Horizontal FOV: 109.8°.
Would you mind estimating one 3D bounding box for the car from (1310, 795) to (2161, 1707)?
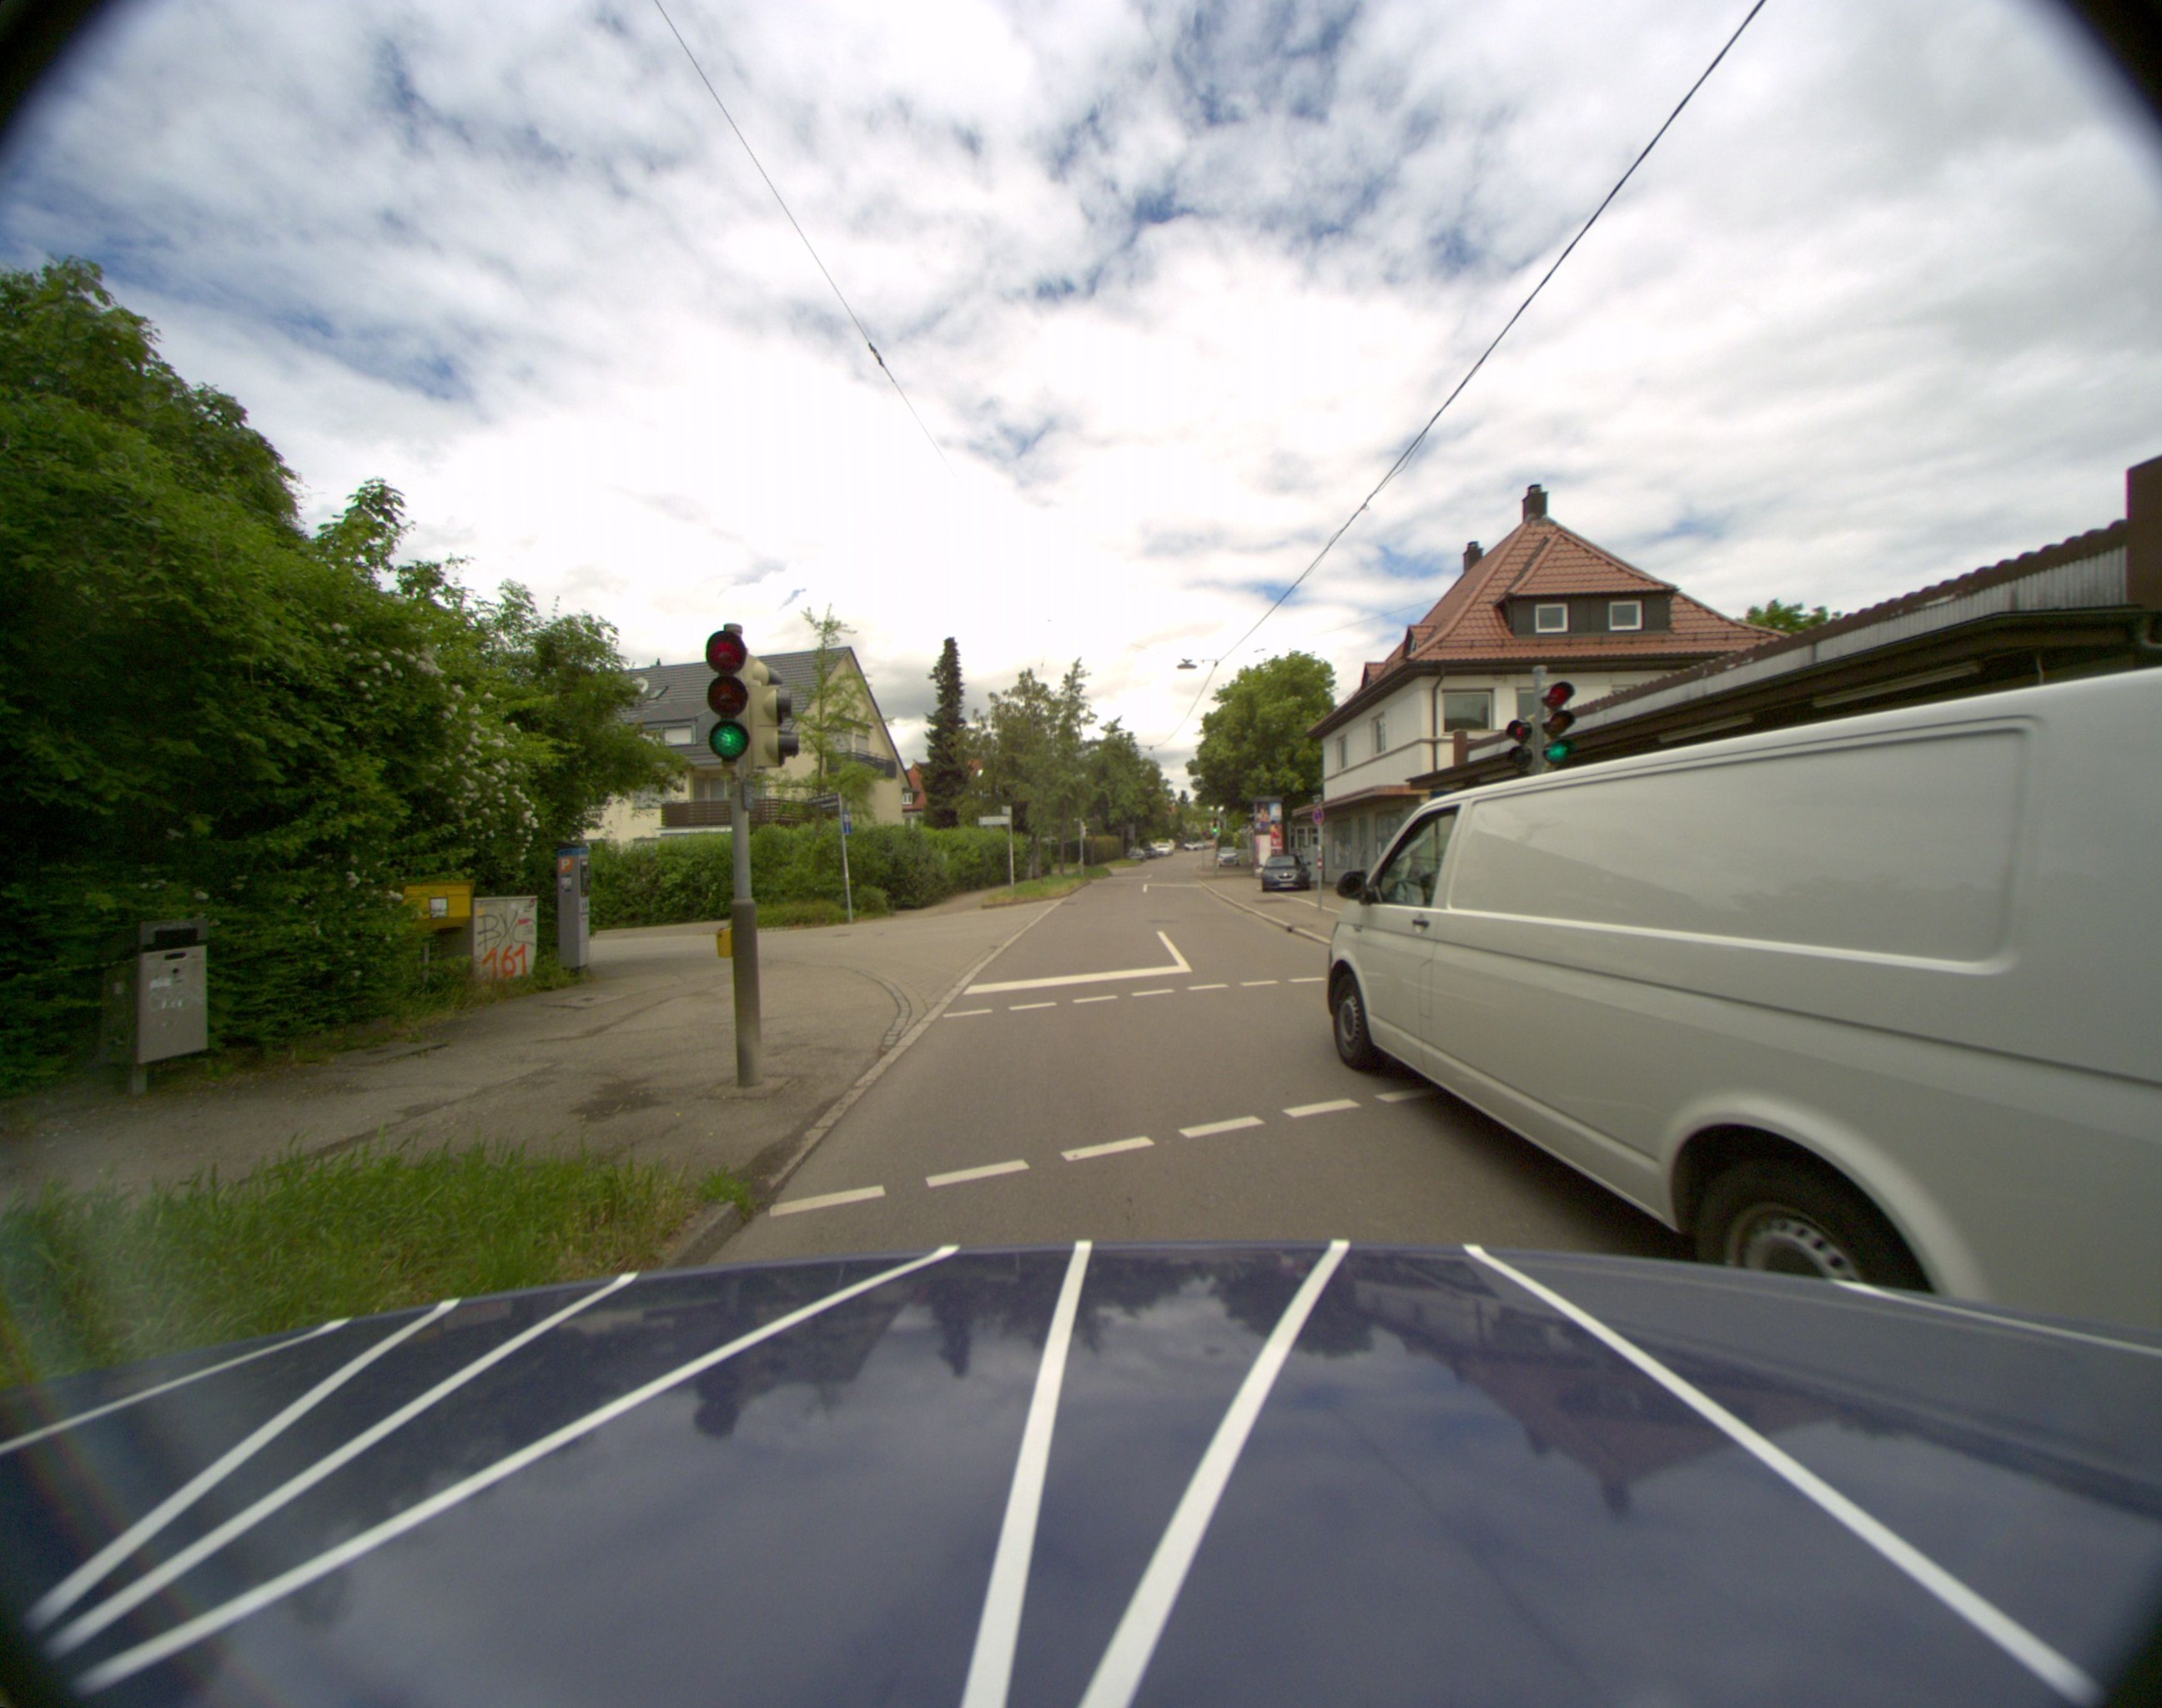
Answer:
[{"bbox_3d":[2.674,0.800,3.323,1.885,1.905,4.832,-2,1,1],"label":"car"}]

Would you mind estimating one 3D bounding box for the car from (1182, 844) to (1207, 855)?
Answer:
[{"bbox_3d":[19.404,-0.717,129.644,3.993,1.729,2.002,-2,1,14],"label":"car"}]

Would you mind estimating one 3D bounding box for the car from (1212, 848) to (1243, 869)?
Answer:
[{"bbox_3d":[12.234,0.361,63.652,1.771,1.668,3.999,-2,1,1],"label":"car"}]

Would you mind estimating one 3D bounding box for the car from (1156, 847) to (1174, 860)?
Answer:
[{"bbox_3d":[11.423,-0.076,103.727,1.998,1.687,3.999,-2,1,1],"label":"car"}]

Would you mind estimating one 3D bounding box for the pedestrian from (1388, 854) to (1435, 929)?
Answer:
[{"bbox_3d":[7.898,0.886,18.200,0.821,1.734,0.604,-2,1,2],"label":"pedestrian"}]

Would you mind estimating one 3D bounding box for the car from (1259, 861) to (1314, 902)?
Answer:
[{"bbox_3d":[7.978,1.039,29.757,1.822,1.344,3.394,-2,1,12],"label":"car"}]
